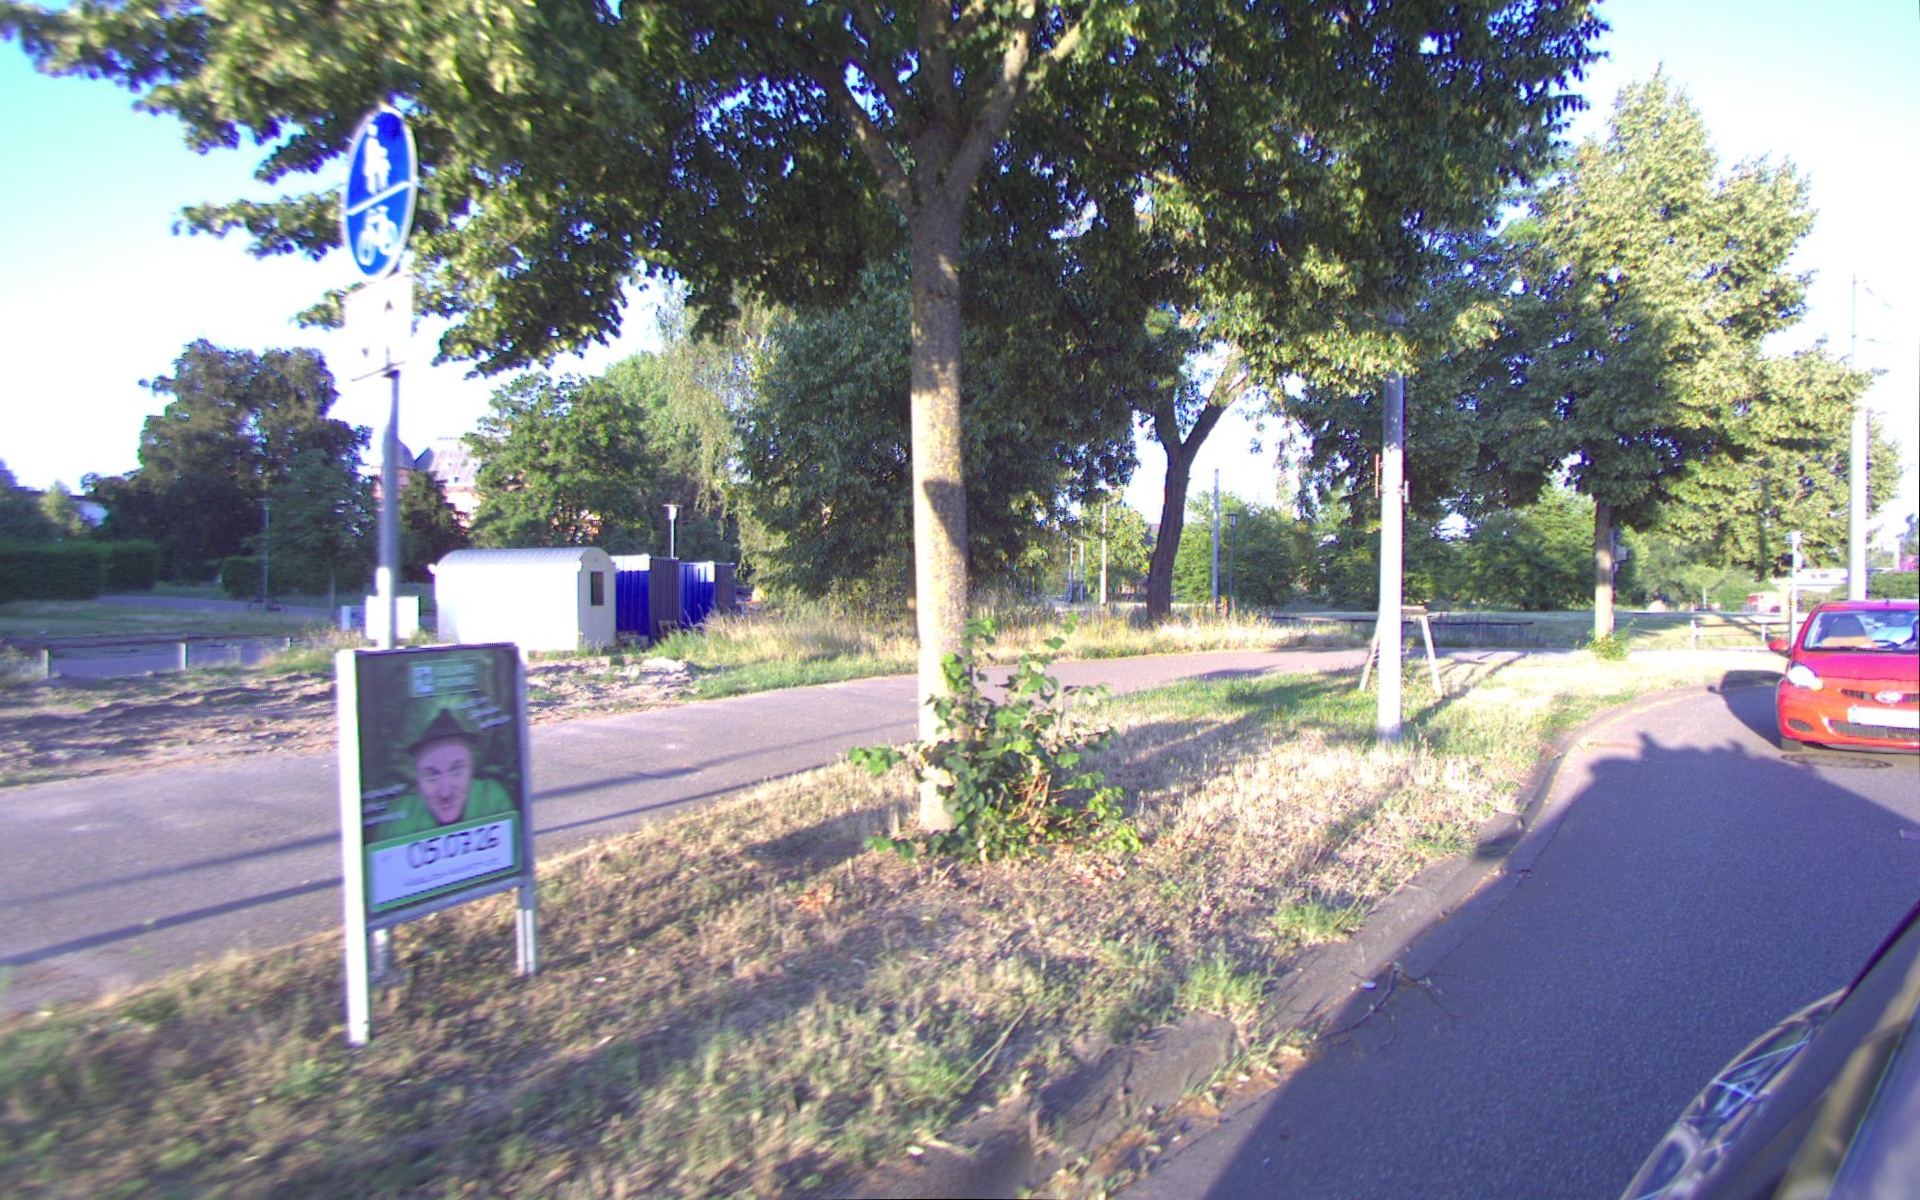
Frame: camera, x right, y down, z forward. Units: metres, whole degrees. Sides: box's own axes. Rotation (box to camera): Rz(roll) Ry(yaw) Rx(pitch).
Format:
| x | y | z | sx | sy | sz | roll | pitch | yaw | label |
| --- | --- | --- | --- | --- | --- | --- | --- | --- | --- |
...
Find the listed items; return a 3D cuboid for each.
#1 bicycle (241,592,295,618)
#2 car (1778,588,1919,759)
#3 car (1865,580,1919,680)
| x | y | z | sx | sy | sz | roll | pitch | yaw | label |
| --- | --- | --- | --- | --- | --- | --- | --- | --- | --- |
| -25.837 | 0.200 | 37.772 | 1.816 | 0.890 | 0.405 | 2 | 0 | 5 | bicycle |
| 9.539 | 0.608 | 10.143 | 1.689 | 1.439 | 4.144 | -1 | 0 | 44 | car |
| 16.955 | 0.495 | 16.783 | 4.131 | 1.578 | 1.762 | 1 | 0 | -31 | car |
